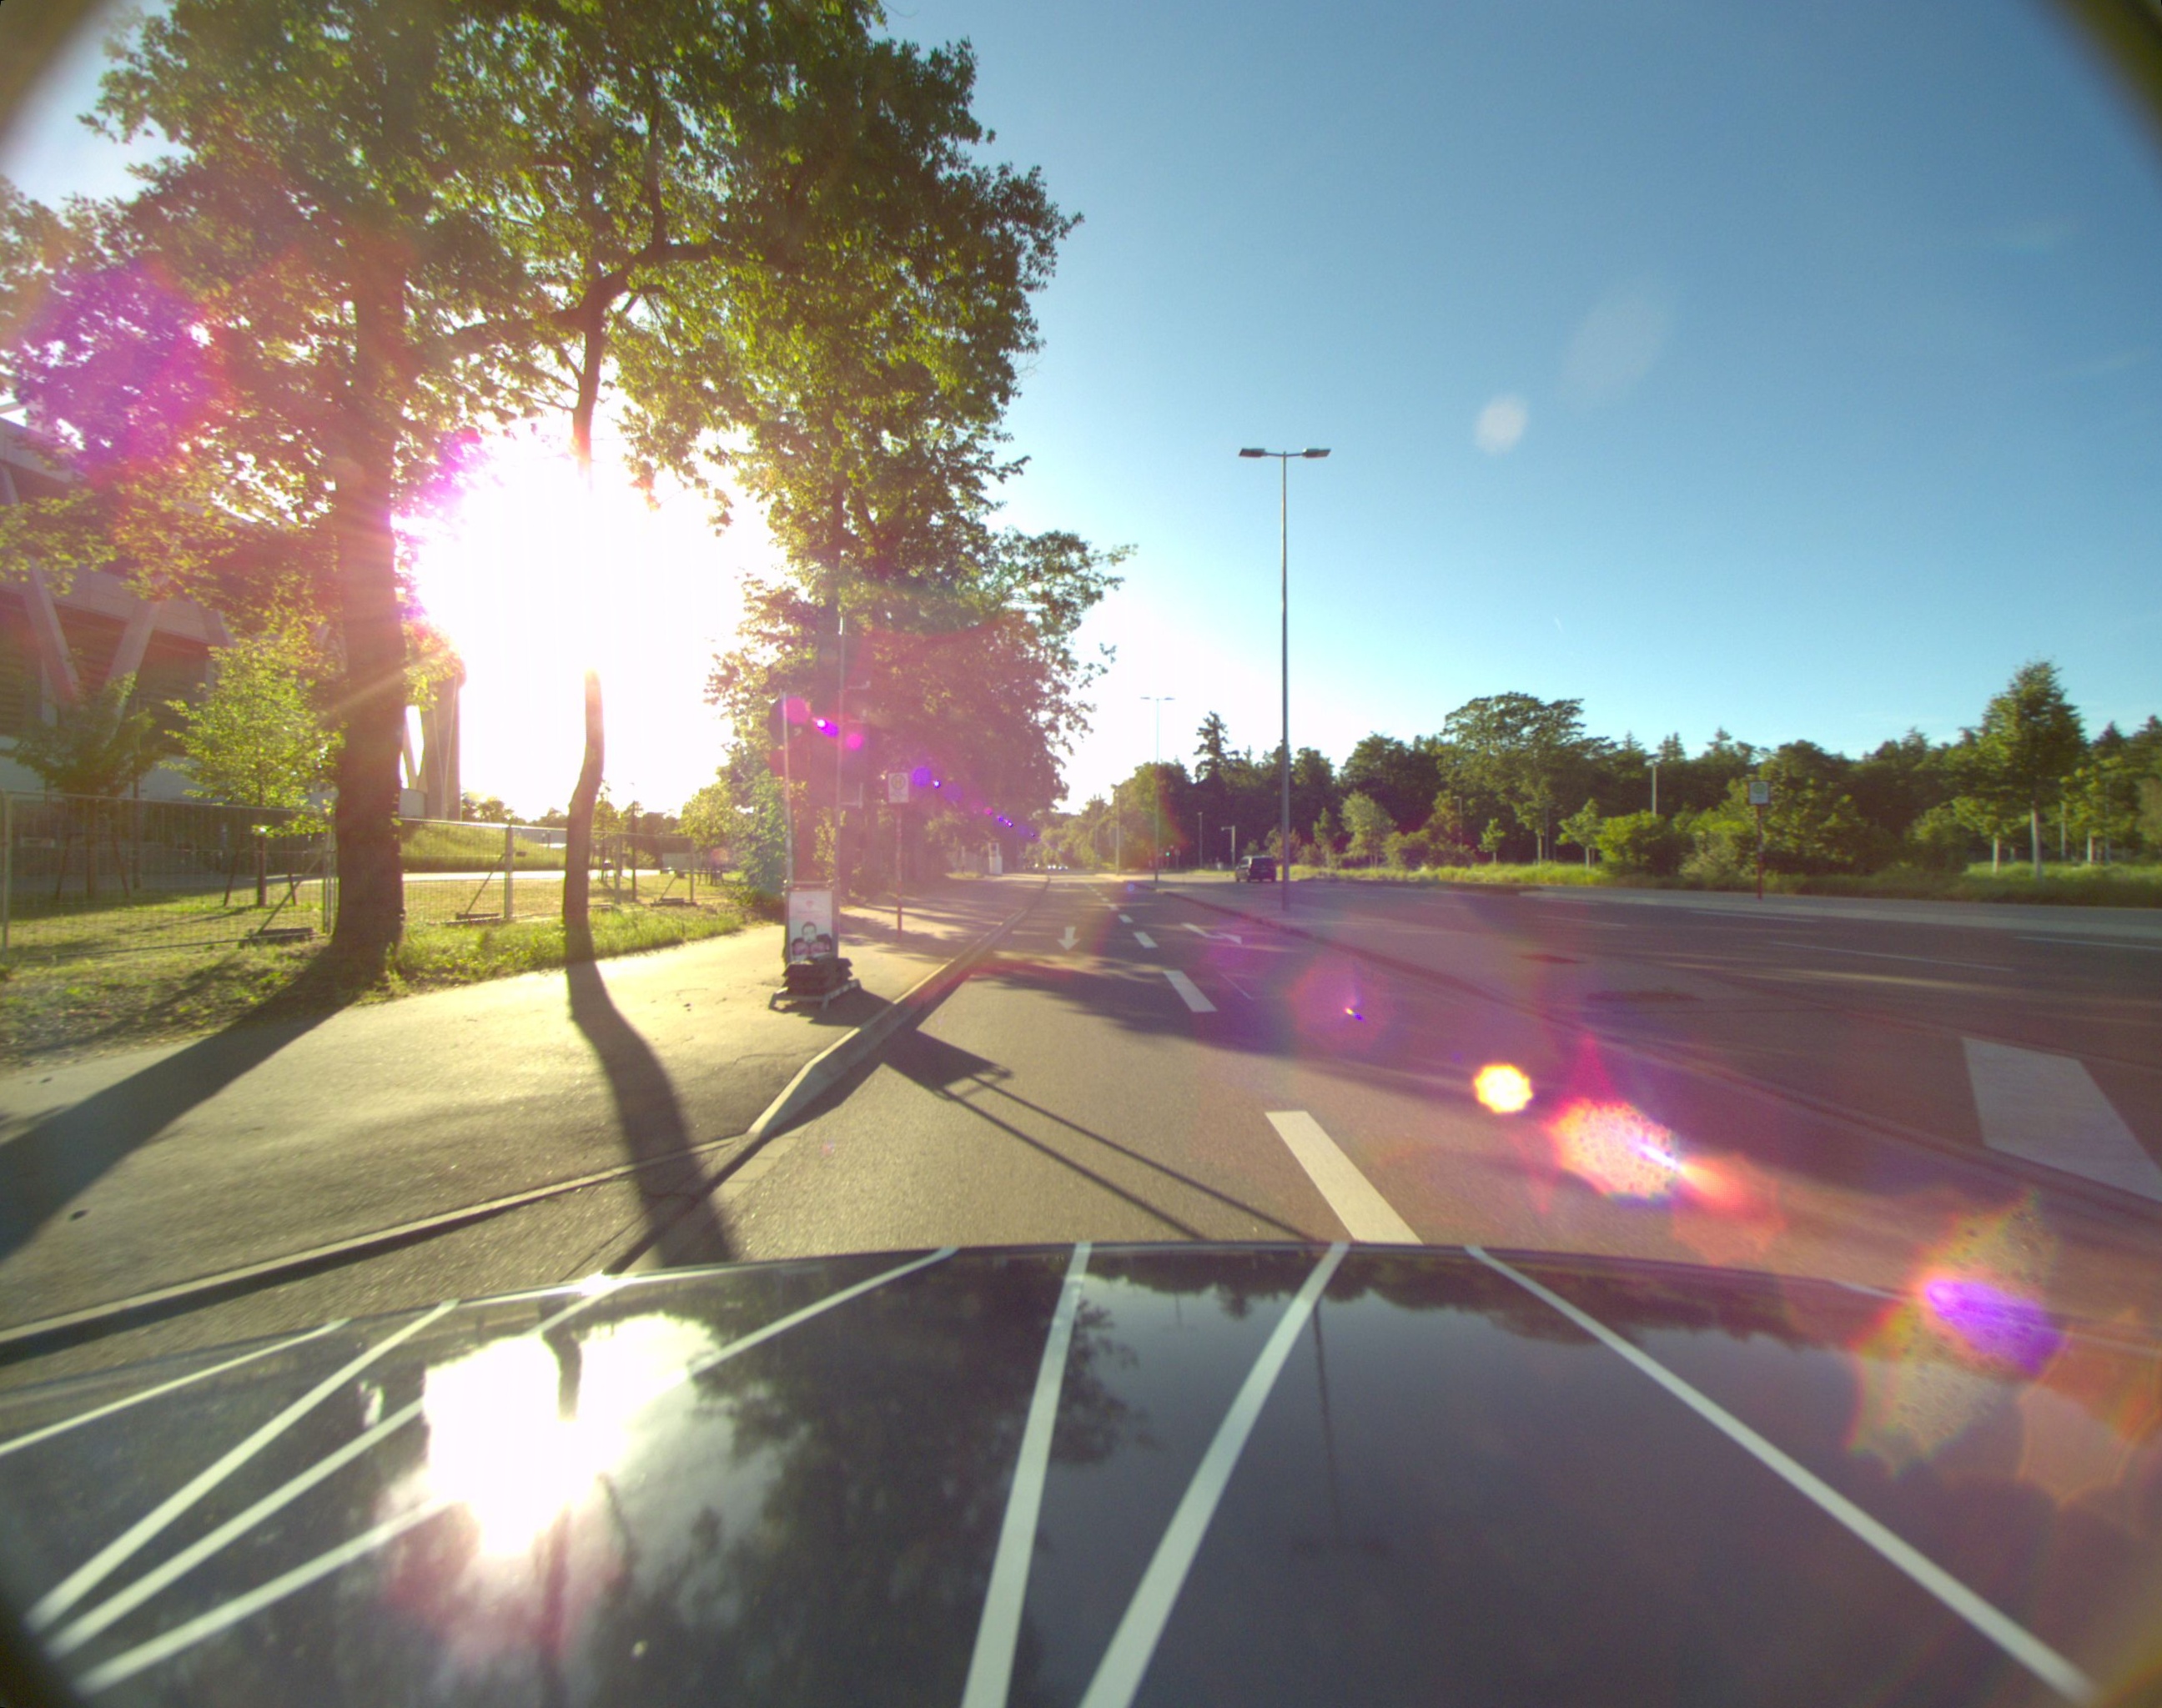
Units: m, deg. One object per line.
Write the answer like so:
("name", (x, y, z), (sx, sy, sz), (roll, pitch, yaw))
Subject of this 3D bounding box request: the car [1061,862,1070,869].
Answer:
("car", (-3.543, 2.596, 174.094), (1.841, 1.394, 3.999), (-2, 0, -3))

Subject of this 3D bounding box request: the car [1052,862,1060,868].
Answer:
("car", (-6.746, 2.960, 204.295), (1.841, 1.394, 4.990), (-2, -1, -4))

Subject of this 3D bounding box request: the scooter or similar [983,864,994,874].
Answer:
("scooter or similar", (-11.184, 1.862, 92.167), (1.303, 1.230, 0.334), (0, -1, -36))

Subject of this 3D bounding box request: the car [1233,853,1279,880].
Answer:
("car", (11.362, 0.813, 49.577), (1.788, 1.682, 4.702), (-2, -1, -1))
